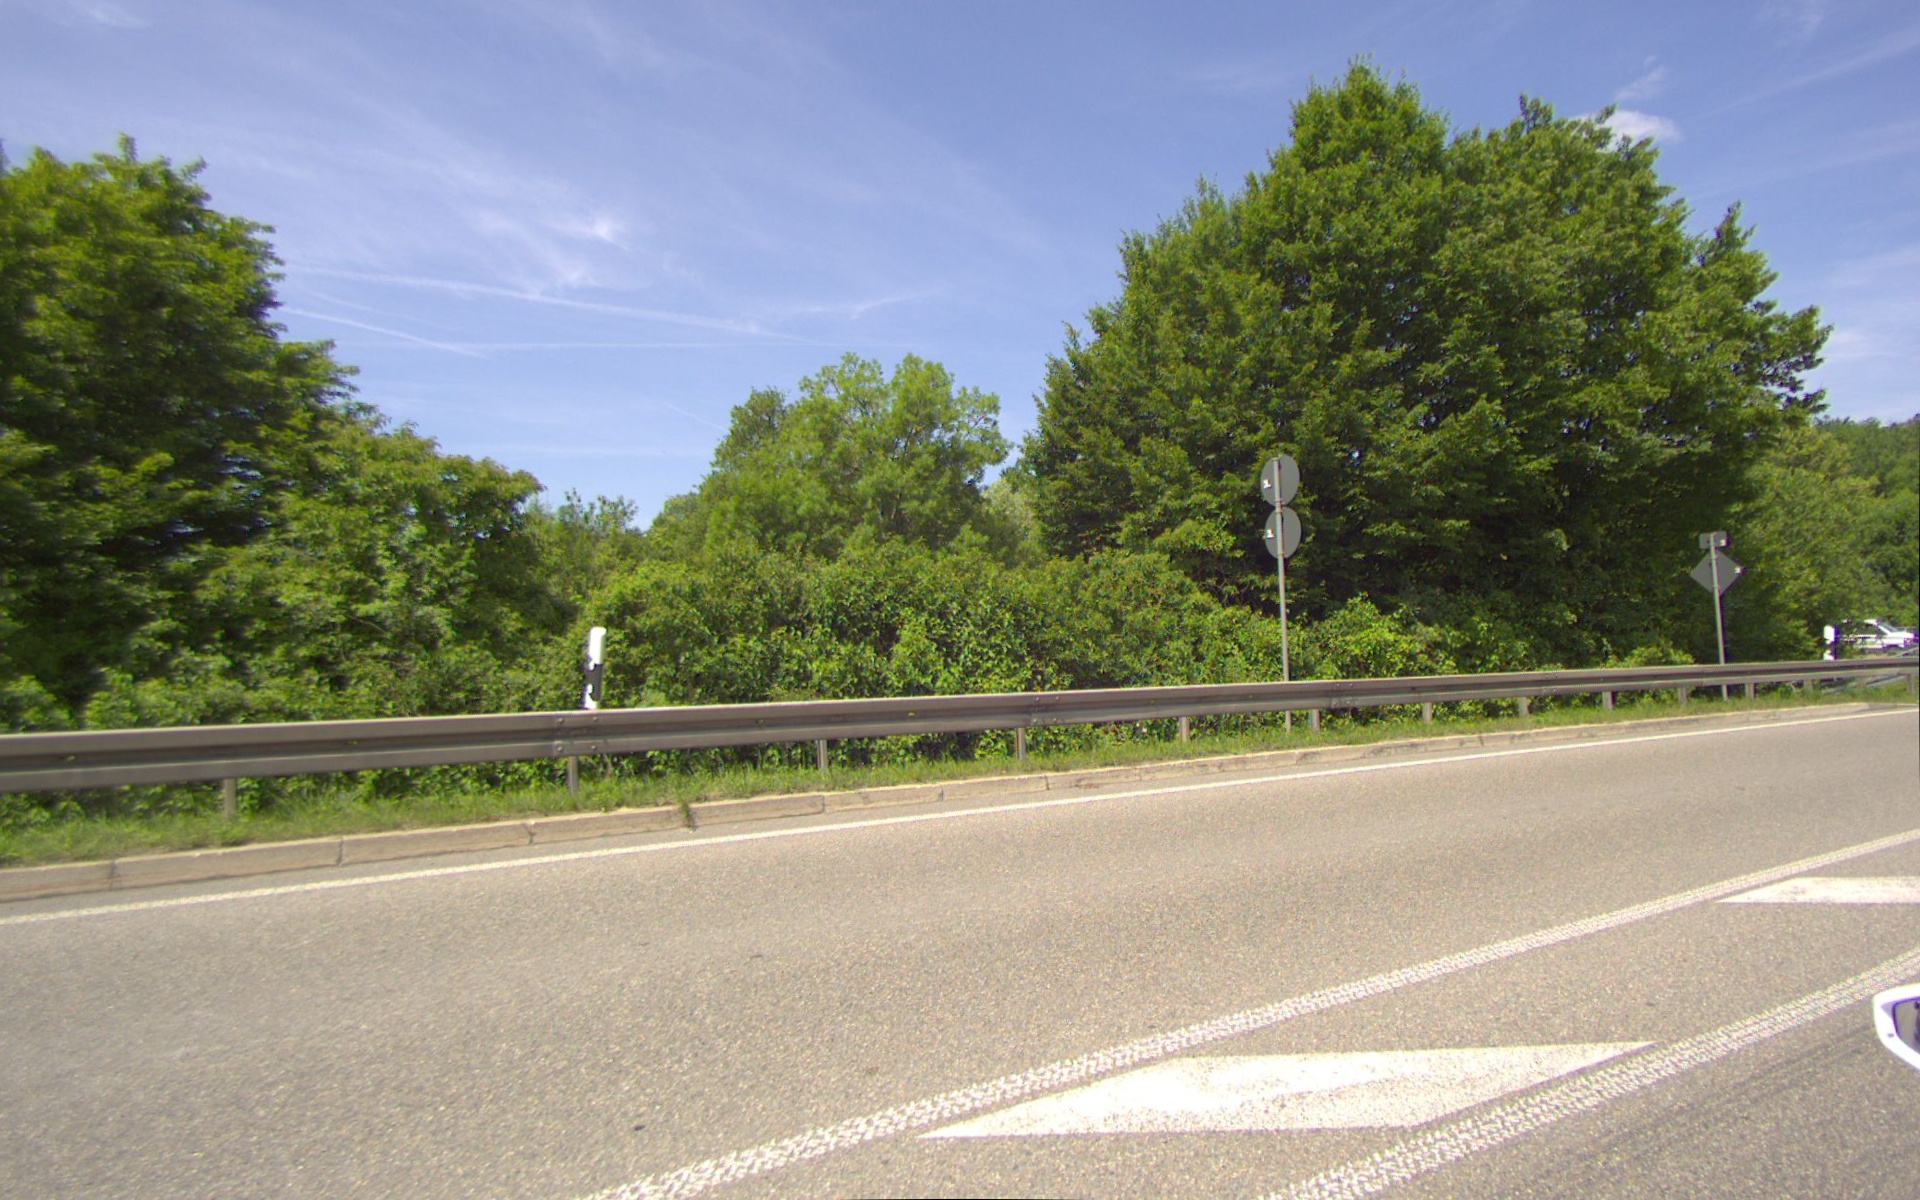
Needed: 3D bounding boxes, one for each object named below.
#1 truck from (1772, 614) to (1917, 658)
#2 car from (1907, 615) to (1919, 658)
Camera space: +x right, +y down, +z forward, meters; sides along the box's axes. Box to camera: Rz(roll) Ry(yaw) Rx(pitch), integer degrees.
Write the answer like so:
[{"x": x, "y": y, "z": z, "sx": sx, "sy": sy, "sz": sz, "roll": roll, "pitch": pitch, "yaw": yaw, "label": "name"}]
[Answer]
[{"x": 41.748, "y": 1.675, "z": 47.530, "sx": 2.025, "sy": 1.815, "sz": 4.840, "roll": 3, "pitch": -1, "yaw": -37, "label": "truck"}, {"x": 41.464, "y": 1.499, "z": 40.632, "sx": 1.967, "sy": 1.793, "sz": 4.234, "roll": 1, "pitch": -1, "yaw": -15, "label": "car"}]
